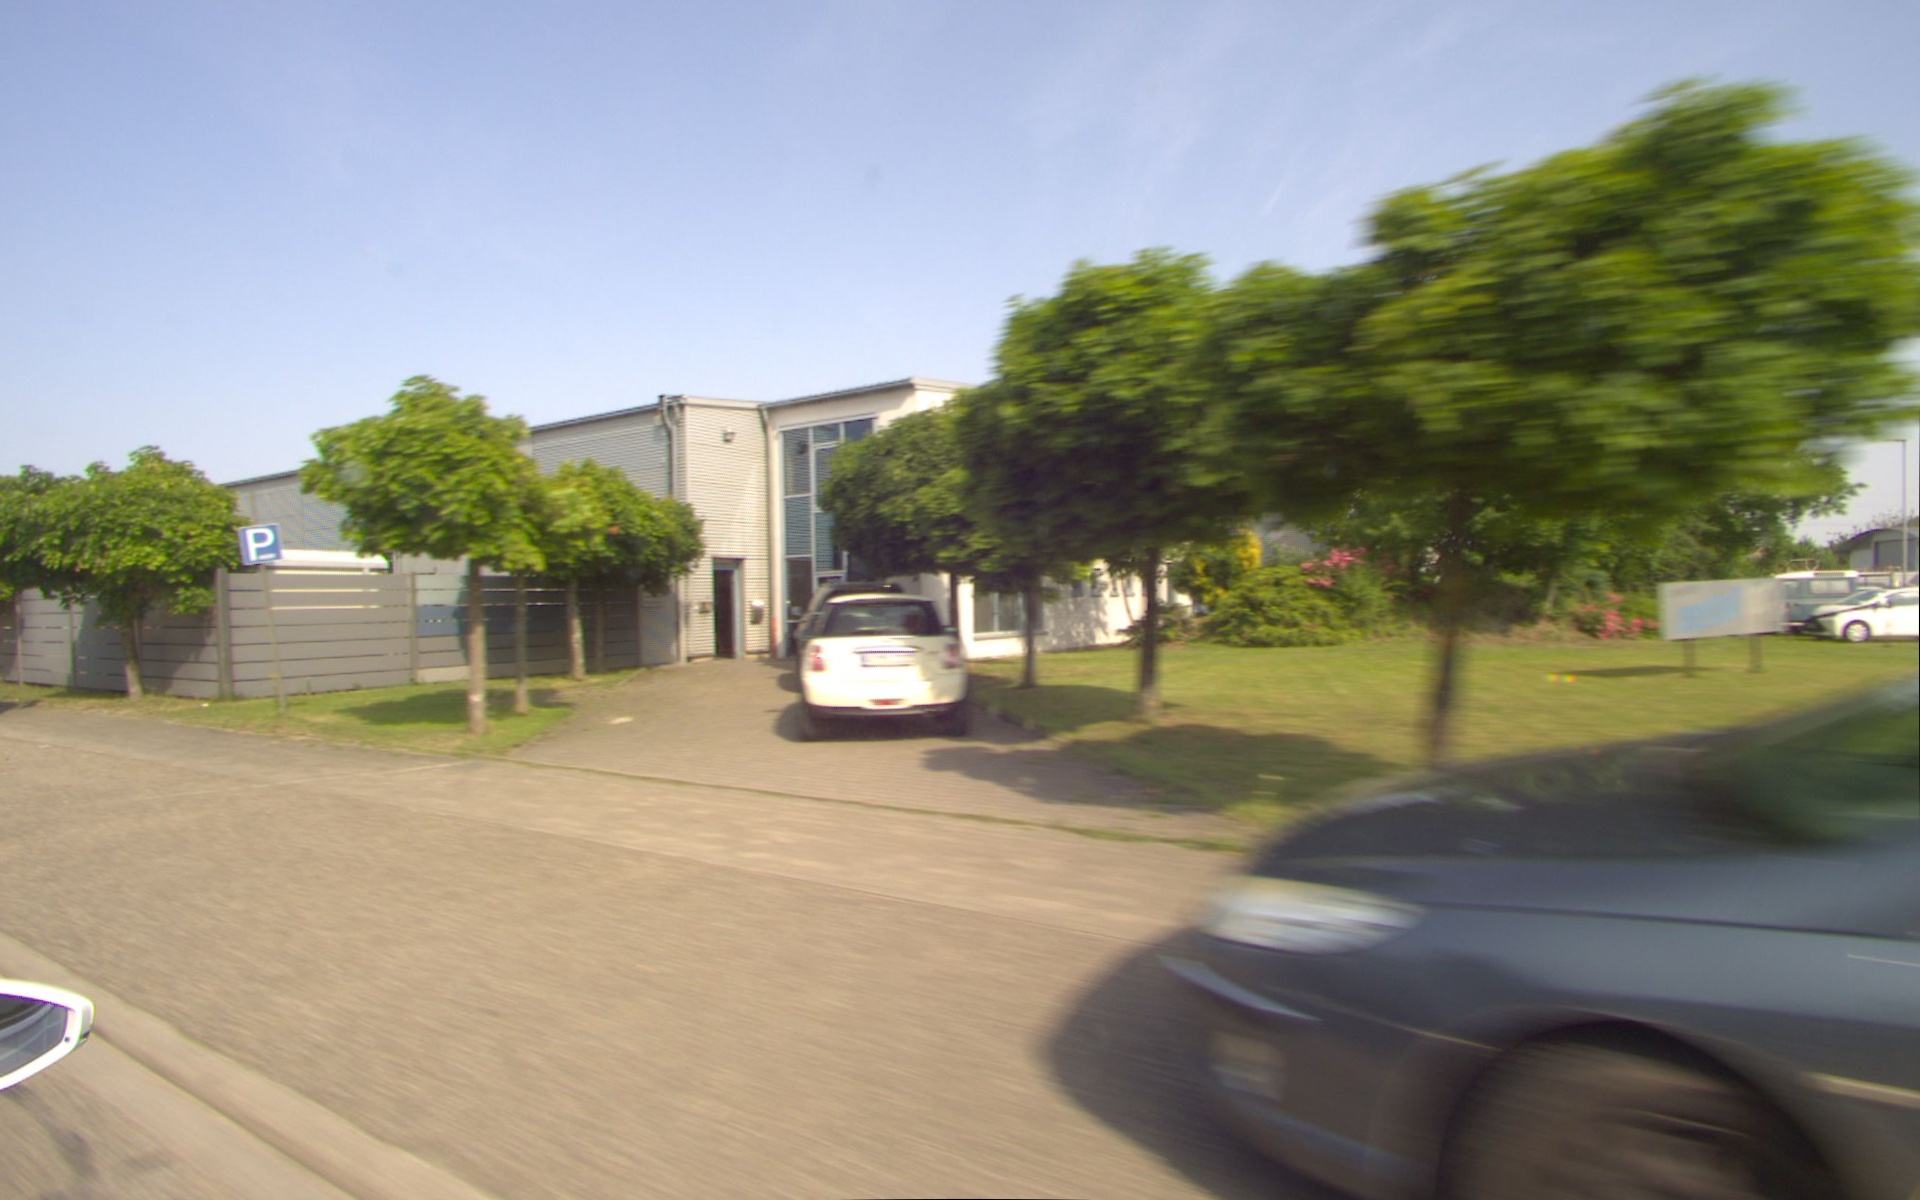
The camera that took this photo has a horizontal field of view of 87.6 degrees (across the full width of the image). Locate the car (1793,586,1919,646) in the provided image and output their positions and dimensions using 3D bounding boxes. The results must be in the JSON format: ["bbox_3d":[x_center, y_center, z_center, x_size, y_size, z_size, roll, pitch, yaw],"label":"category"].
[{"bbox_3d":[24.594,0.410,26.578,3.454,1.469,1.561,-2,0,15],"label":"car"}]

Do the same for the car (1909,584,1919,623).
[{"bbox_3d":[39.146,0.133,38.901,1.801,1.542,3.584,-1,0,15],"label":"car"}]

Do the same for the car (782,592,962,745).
[{"bbox_3d":[-1.012,0.627,11.228,1.655,1.399,3.696,-1,0,-6],"label":"car"}]

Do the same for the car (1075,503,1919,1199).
[{"bbox_3d":[2.569,0.603,1.803,4.361,1.538,1.789,-1,1,33],"label":"car"}]

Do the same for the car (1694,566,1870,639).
[{"bbox_3d":[24.879,0.045,30.439,3.639,1.983,1.683,3,3,15],"label":"car"}]

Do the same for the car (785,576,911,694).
[{"bbox_3d":[-1.949,0.466,16.270,1.656,1.610,4.529,-1,1,-11],"label":"car"}]
